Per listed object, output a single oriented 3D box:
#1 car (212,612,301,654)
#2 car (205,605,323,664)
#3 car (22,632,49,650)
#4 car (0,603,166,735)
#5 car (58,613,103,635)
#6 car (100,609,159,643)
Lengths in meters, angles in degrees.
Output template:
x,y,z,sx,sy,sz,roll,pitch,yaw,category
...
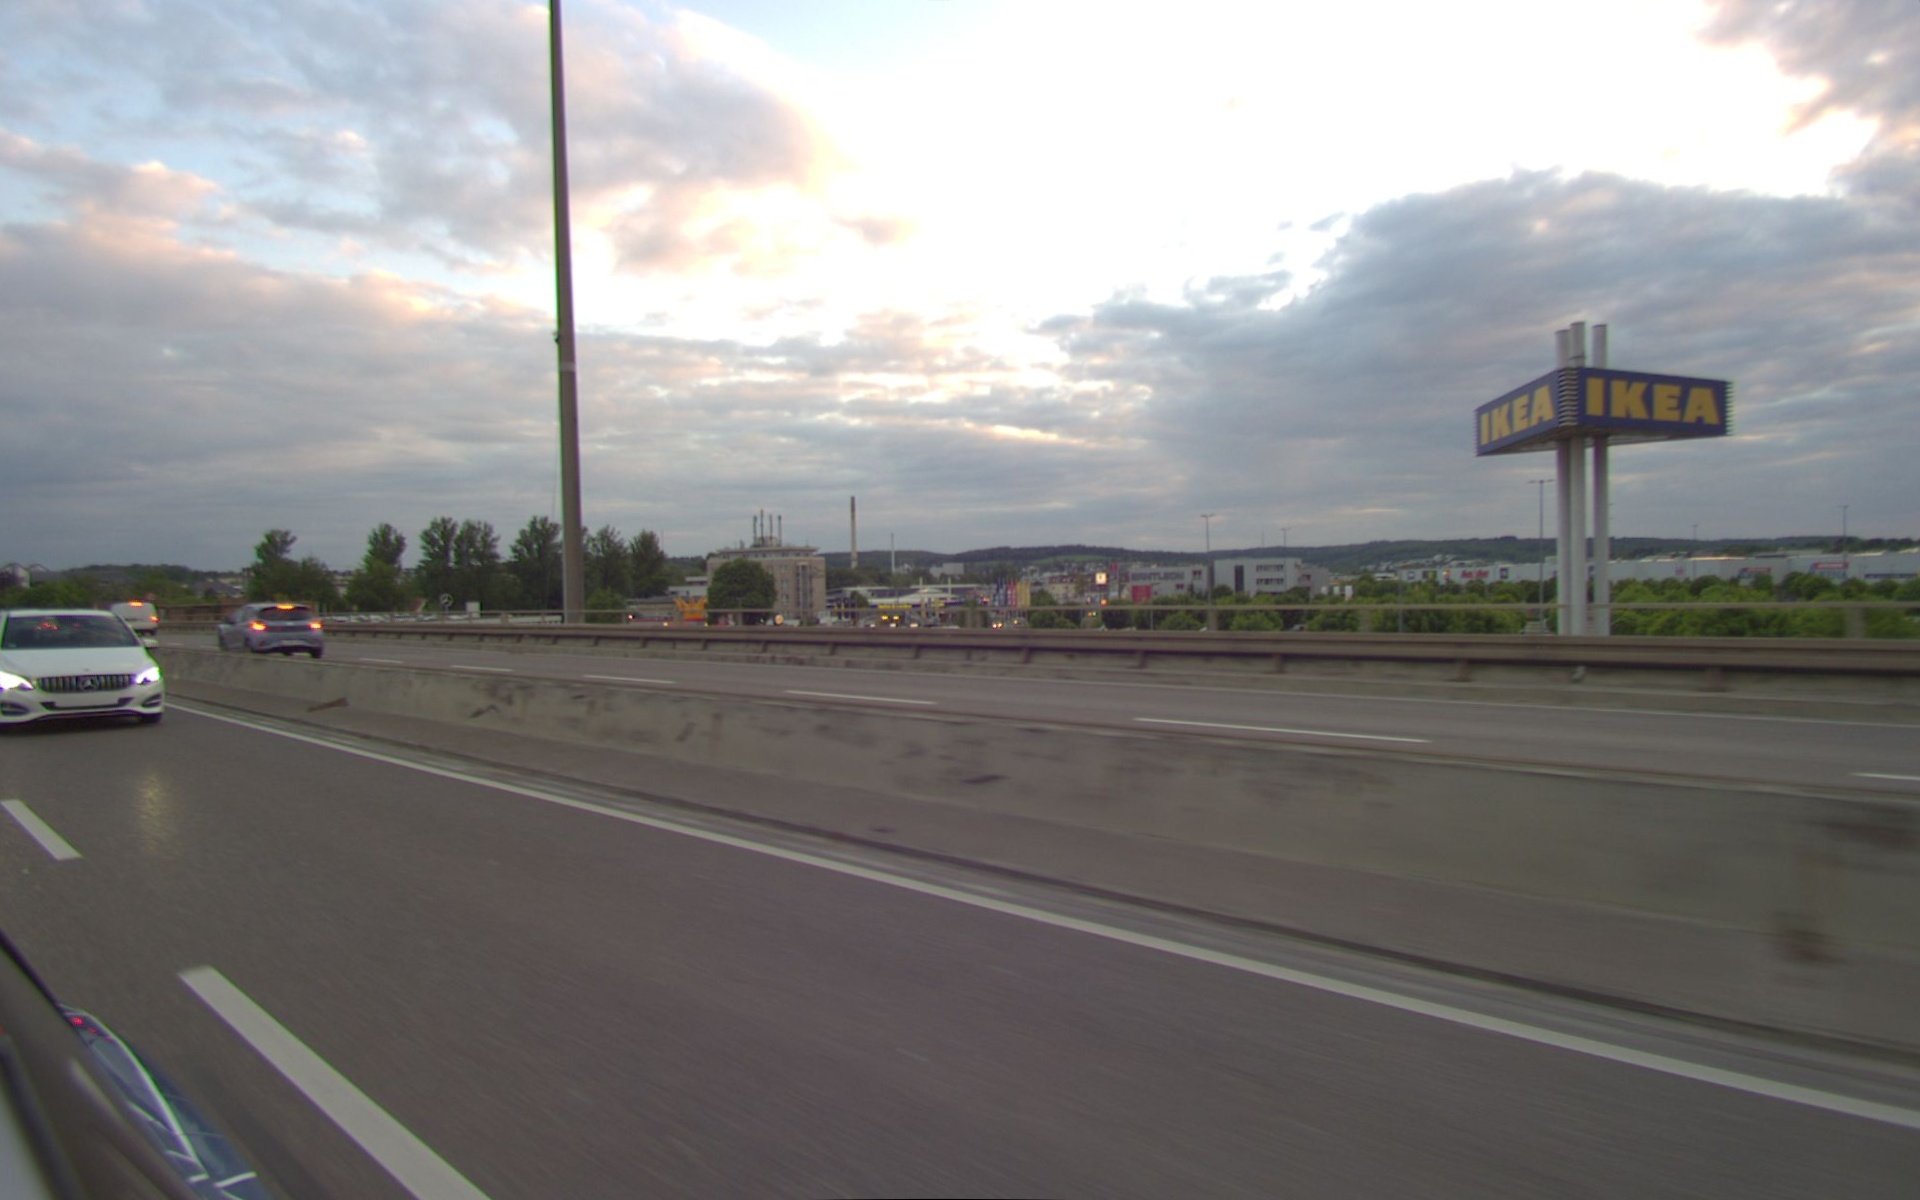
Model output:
x,y,z,sx,sy,sz,roll,pitch,yaw,category
-27.286,1.240,39.211,4.815,1.514,1.811,-1,-1,42,car
-18.931,0.936,27.466,3.831,1.452,1.613,-2,-1,39,car
-92.445,4.064,101.147,4.042,1.606,1.639,-1,0,43,car
-12.776,0.899,14.166,4.779,1.548,1.674,-3,-1,40,car
-65.762,1.801,75.661,4.897,1.485,1.809,-2,-1,41,car
-49.320,1.523,60.057,5.457,1.915,1.881,-1,0,41,car
